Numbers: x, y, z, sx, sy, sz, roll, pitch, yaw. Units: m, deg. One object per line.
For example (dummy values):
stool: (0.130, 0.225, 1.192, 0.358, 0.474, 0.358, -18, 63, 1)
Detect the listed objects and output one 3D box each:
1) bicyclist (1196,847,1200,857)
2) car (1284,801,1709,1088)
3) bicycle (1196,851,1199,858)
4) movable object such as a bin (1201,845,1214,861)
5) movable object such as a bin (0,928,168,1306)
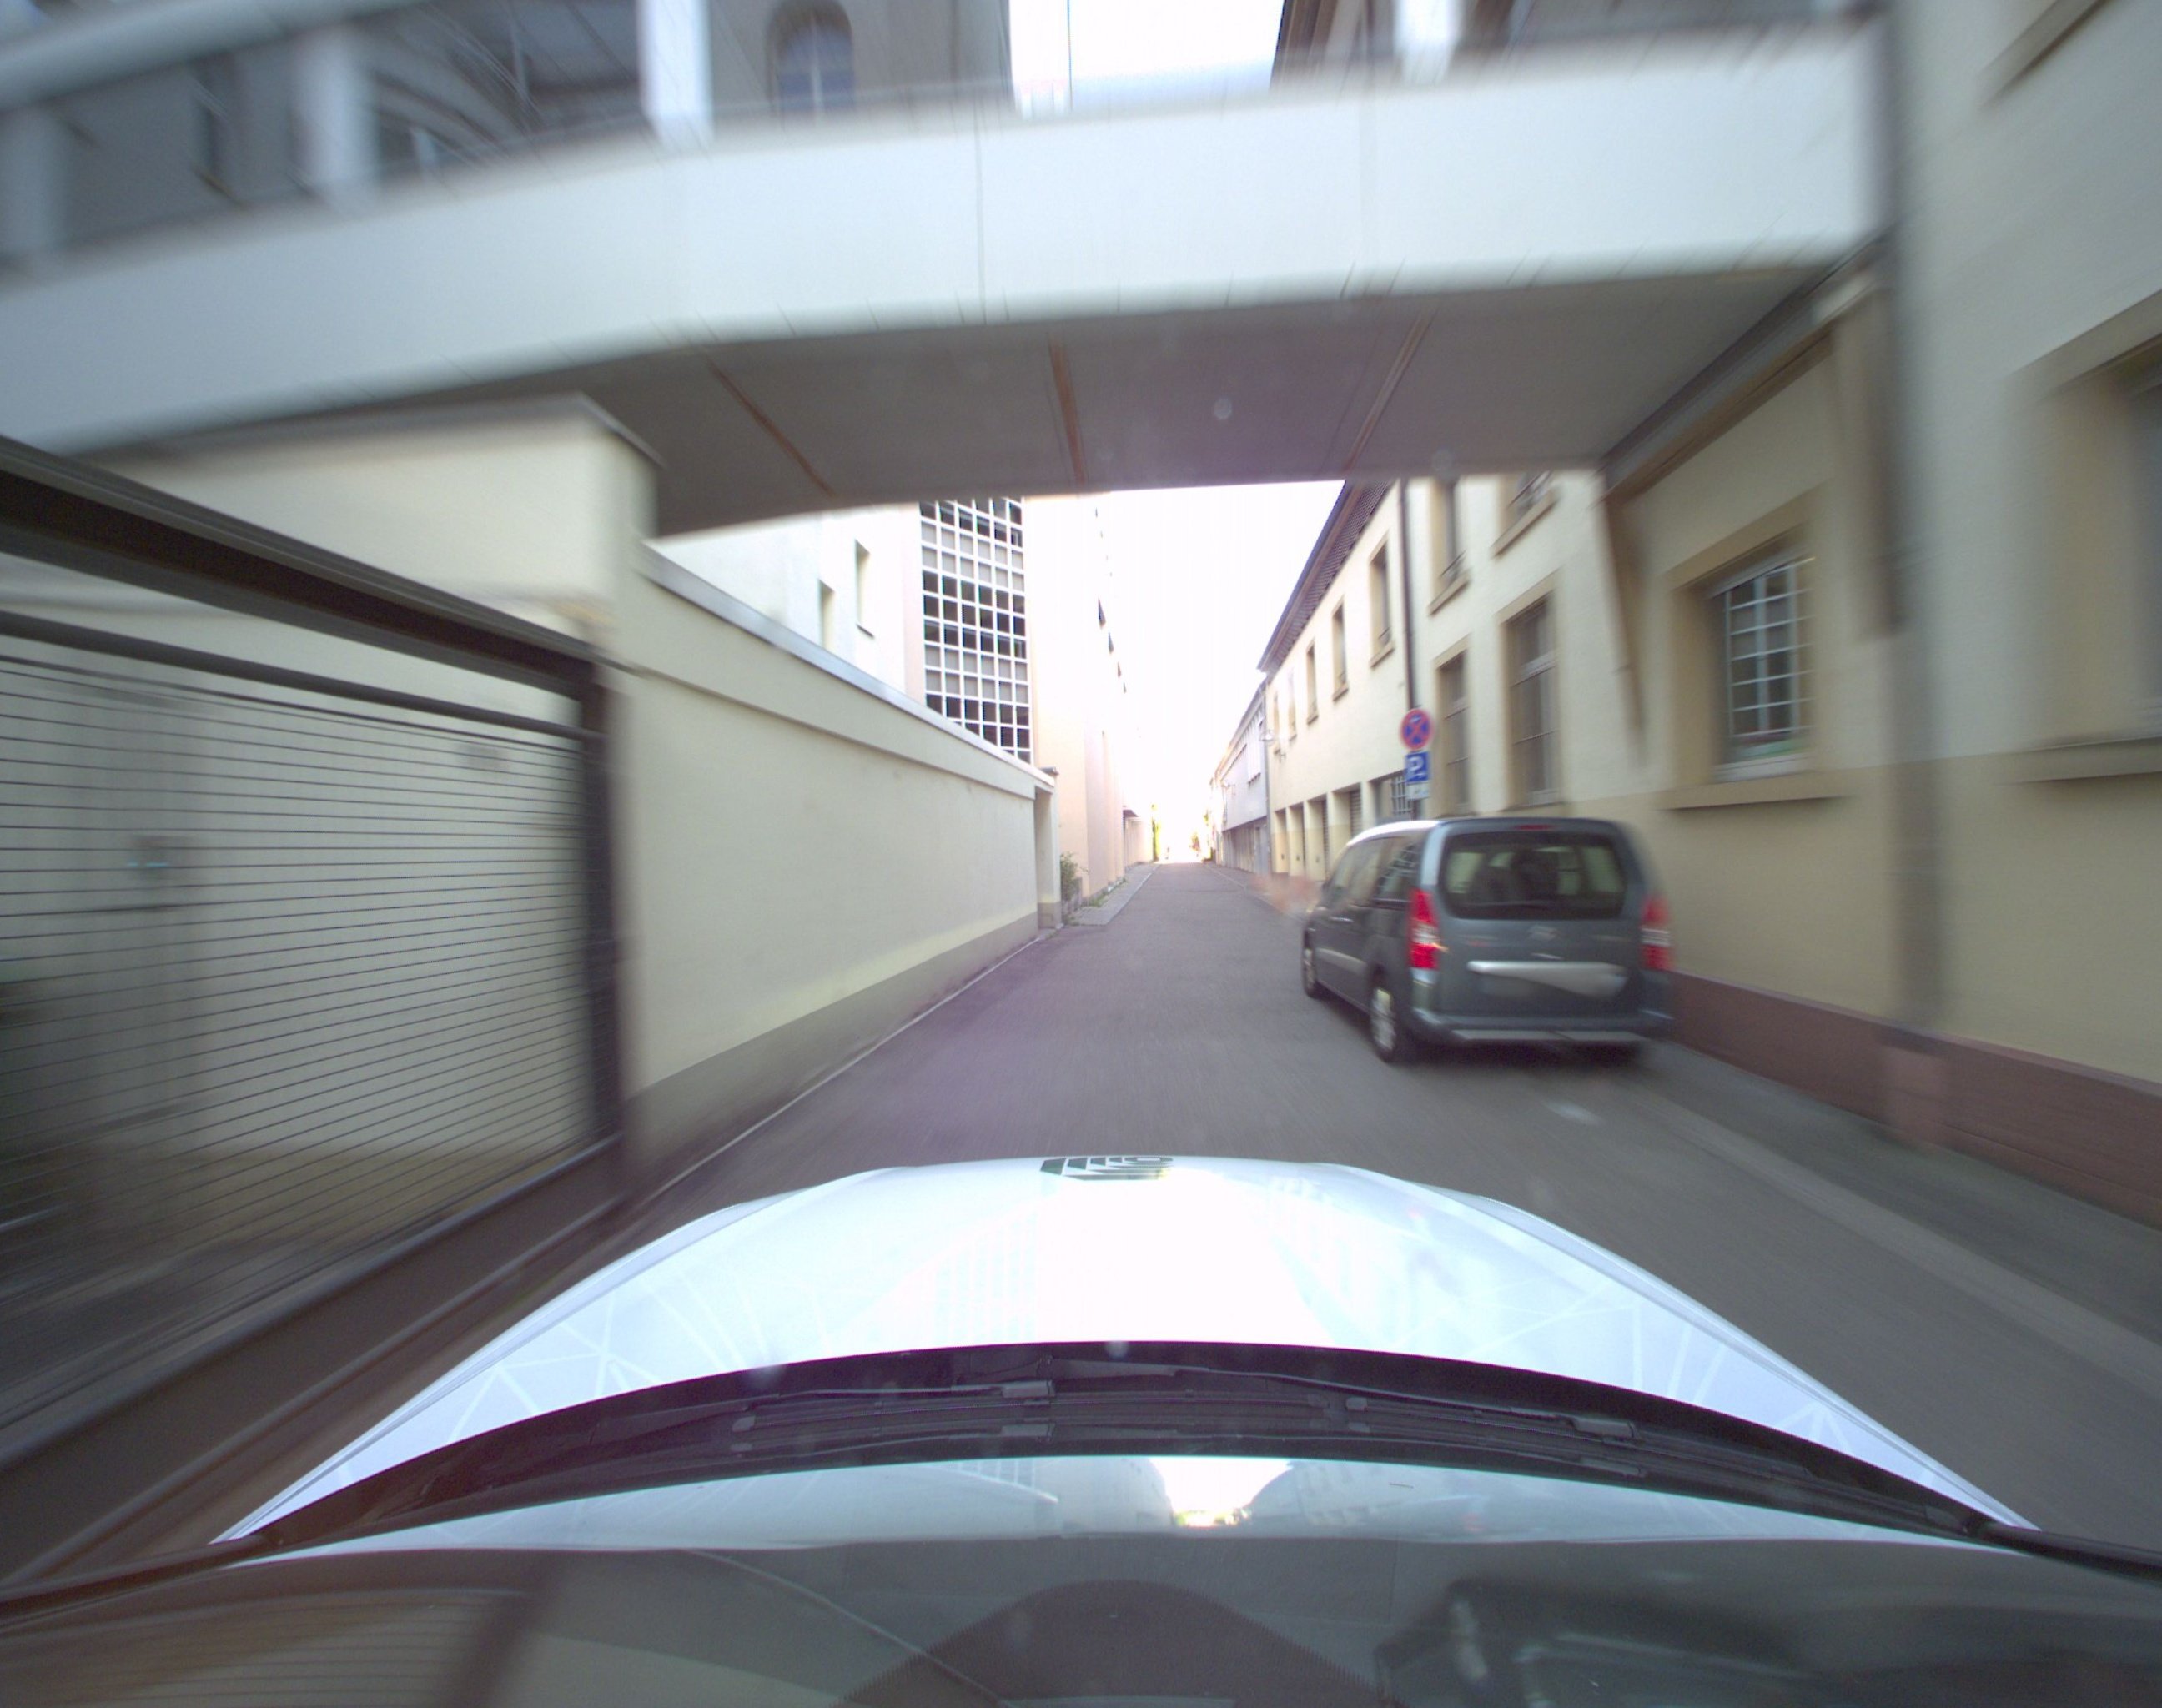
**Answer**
bicyclist: (17.000, -0.282, 118.578, 0.509, 1.322, 0.560, -2, 0, 9)
car: (3.141, 0.580, 7.249, 1.847, 1.756, 4.167, -2, 0, 4)
bicycle: (16.995, 0.063, 118.608, 0.440, 0.915, 1.520, -2, 0, 10)
movable object such as a bin: (12.290, -0.066, 79.197, 1.101, 1.436, 1.417, -3, 1, 7)
movable object such as a bin: (-4.866, 1.078, 2.986, 1.174, 1.424, 1.592, -2, 0, 8)
